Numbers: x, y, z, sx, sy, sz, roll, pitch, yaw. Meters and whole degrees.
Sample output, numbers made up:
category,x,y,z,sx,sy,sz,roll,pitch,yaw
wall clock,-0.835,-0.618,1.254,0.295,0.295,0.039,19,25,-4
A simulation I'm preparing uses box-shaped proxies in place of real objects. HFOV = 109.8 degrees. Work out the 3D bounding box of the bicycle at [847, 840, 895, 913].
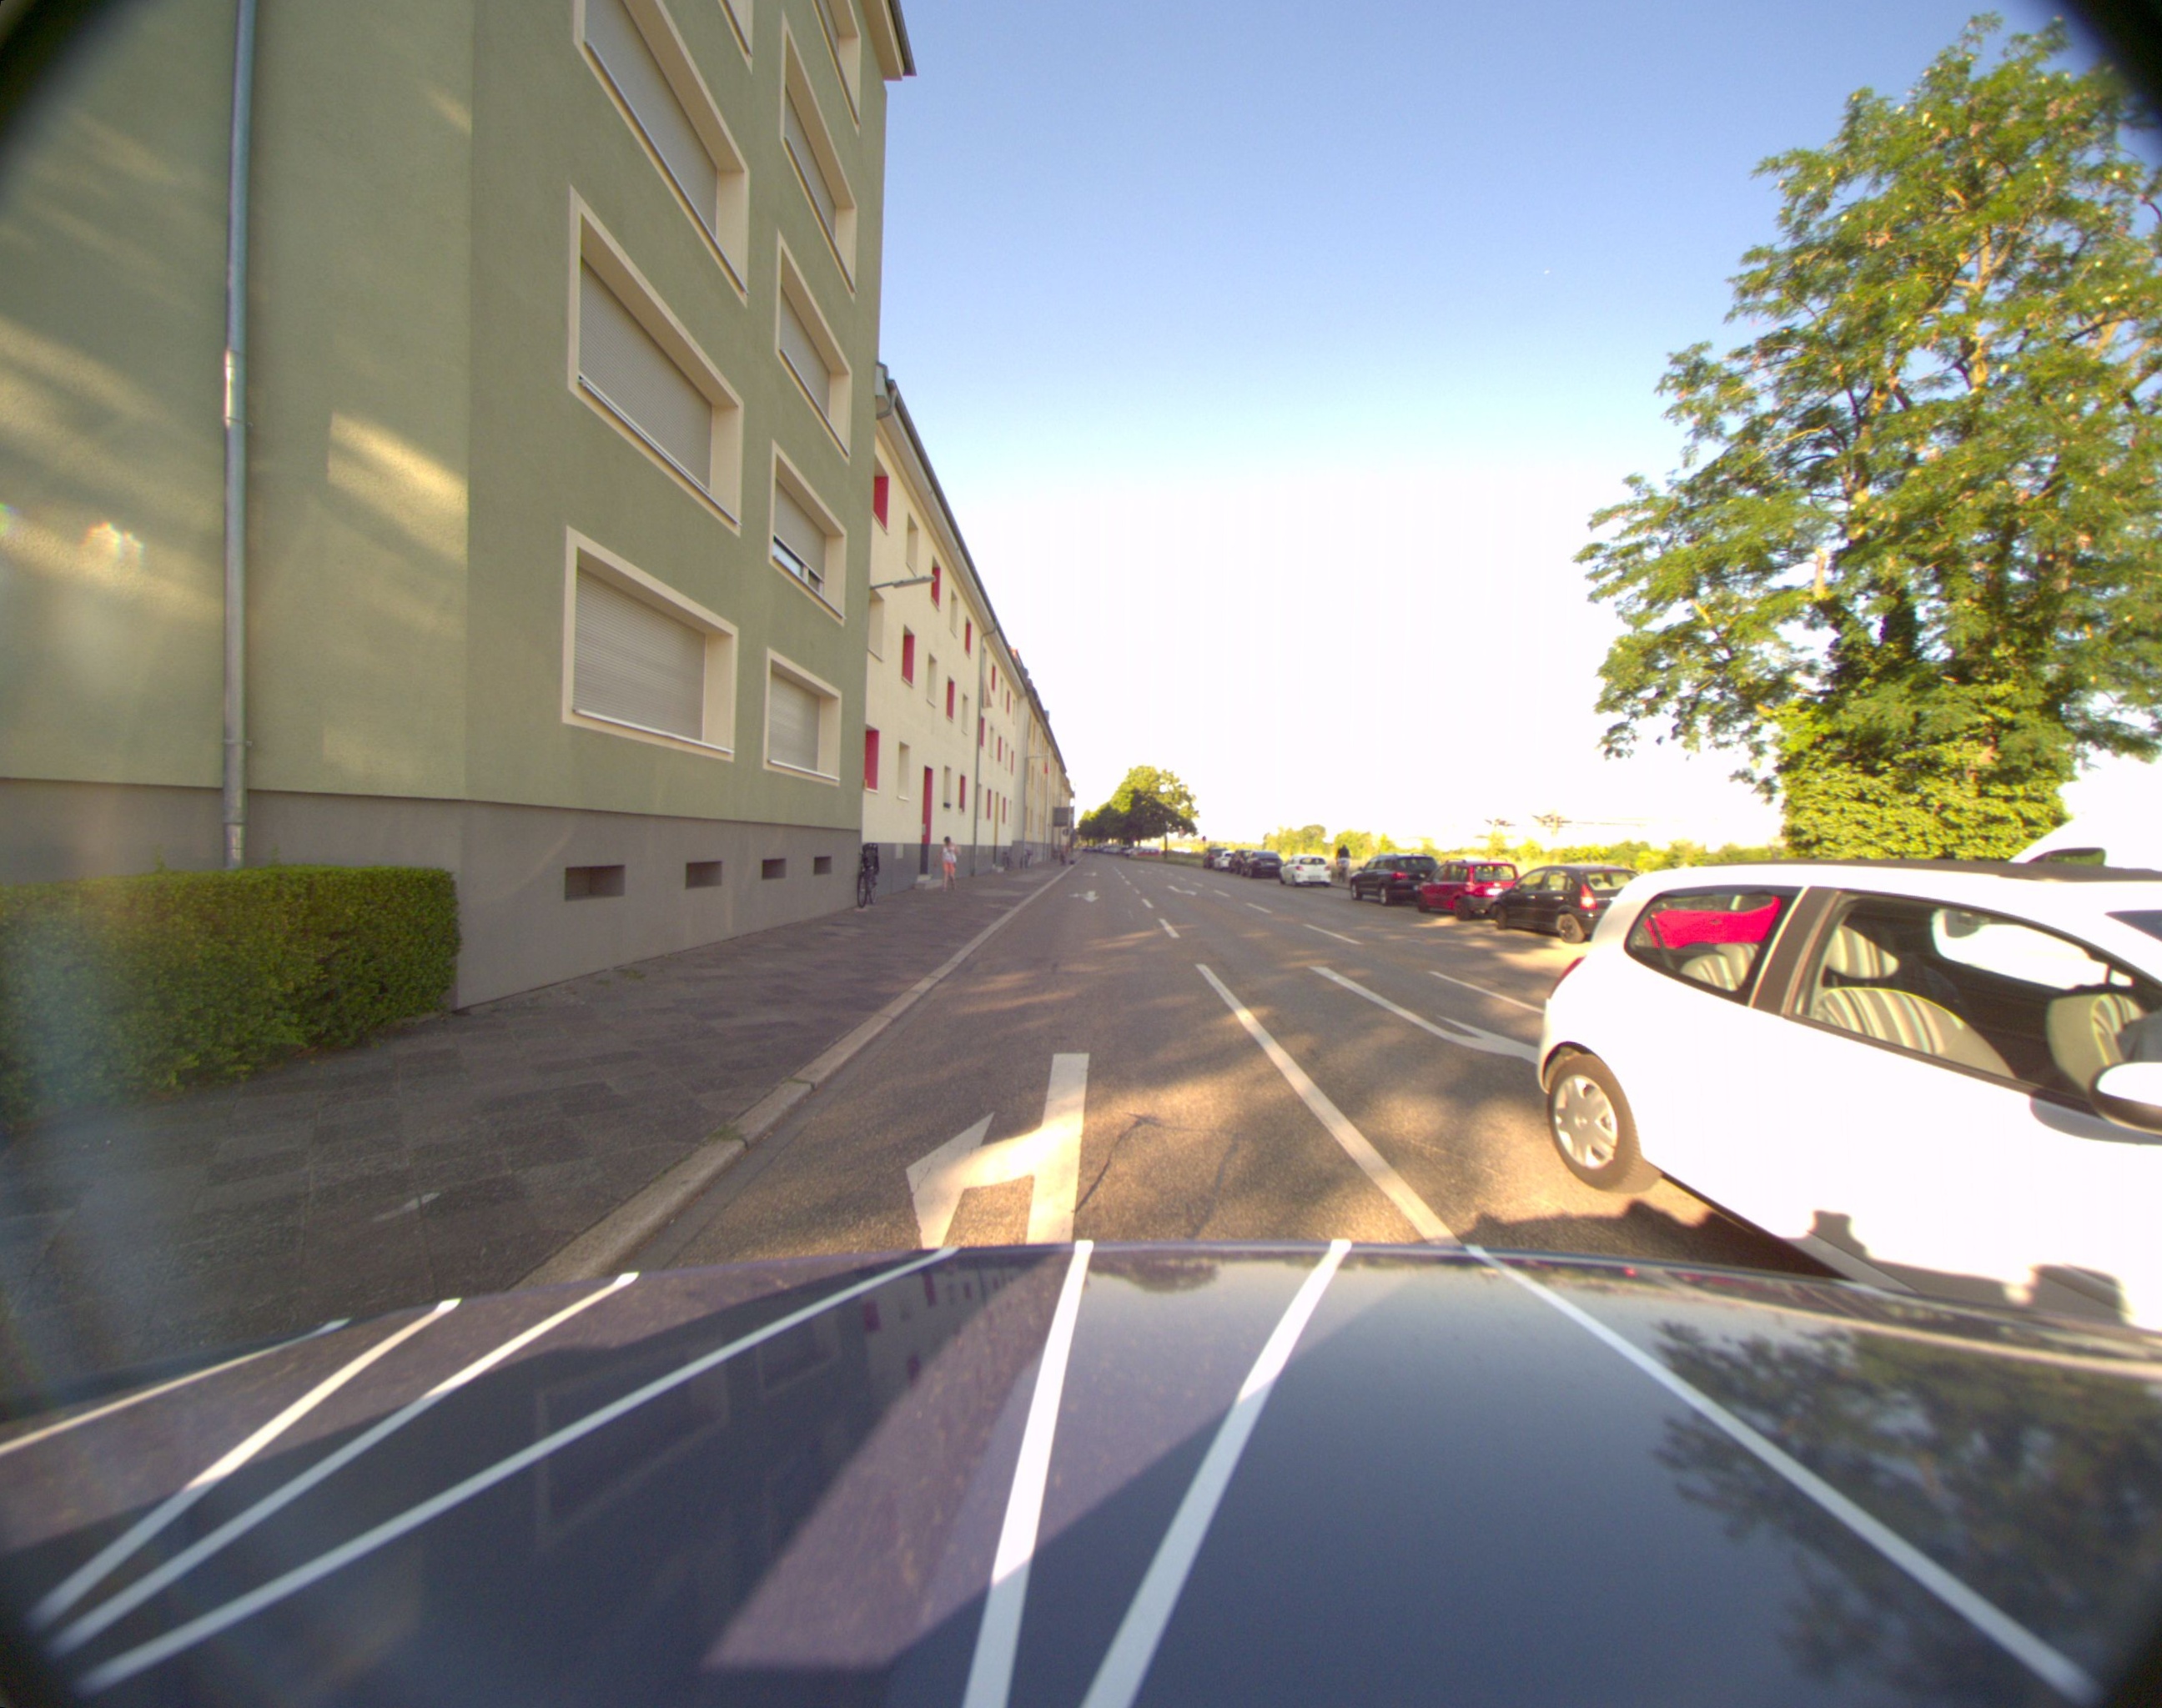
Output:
category,x,y,z,sx,sy,sz,roll,pitch,yaw
bicycle,-4.309,0.430,15.694,0.517,1.404,1.872,2,1,-3

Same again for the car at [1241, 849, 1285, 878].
category,x,y,z,sx,sy,sz,roll,pitch,yaw
car,10.572,0.496,44.326,1.823,1.517,4.290,2,1,5

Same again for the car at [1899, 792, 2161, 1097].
category,x,y,z,sx,sy,sz,roll,pitch,yaw
car,9.687,0.716,5.146,2.235,2.422,5.559,-1,1,-1

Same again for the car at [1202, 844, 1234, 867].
category,x,y,z,sx,sy,sz,roll,pitch,yaw
car,11.004,0.084,61.299,1.890,1.765,4.219,2,1,2

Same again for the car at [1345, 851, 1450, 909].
category,x,y,z,sx,sy,sz,roll,pitch,yaw
car,10.141,0.776,24.674,1.664,1.650,4.005,2,1,0

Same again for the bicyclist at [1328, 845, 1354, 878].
category,x,y,z,sx,sy,sz,roll,pitch,yaw
bicyclist,12.738,0.343,37.307,0.866,1.587,1.146,2,1,3

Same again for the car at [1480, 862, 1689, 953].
category,x,y,z,sx,sy,sz,roll,pitch,yaw
car,10.168,0.997,15.739,1.745,1.521,3.816,2,1,0

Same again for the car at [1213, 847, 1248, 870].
category,x,y,z,sx,sy,sz,roll,pitch,yaw
car,10.855,0.310,55.417,1.823,1.565,4.219,2,1,2

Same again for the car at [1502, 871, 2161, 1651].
category,x,y,z,sx,sy,sz,roll,pitch,yaw
car,3.012,0.869,1.936,1.705,1.460,3.774,2,1,-1

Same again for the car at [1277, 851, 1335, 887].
category,x,y,z,sx,sy,sz,roll,pitch,yaw
car,10.411,0.669,35.394,1.706,1.517,3.582,2,1,1

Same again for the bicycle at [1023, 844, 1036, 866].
category,x,y,z,sx,sy,sz,roll,pitch,yaw
bicycle,-3.161,0.063,46.626,0.517,1.318,2.210,2,1,2

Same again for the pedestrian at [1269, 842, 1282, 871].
category,x,y,z,sx,sy,sz,roll,pitch,yaw
pedestrian,13.922,0.183,54.484,0.706,2.002,0.710,2,1,2

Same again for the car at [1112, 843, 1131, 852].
category,x,y,z,sx,sy,sz,roll,pitch,yaw
car,9.201,-1.488,173.466,3.997,1.708,1.999,2,1,-1

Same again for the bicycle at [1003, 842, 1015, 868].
category,x,y,z,sx,sy,sz,roll,pitch,yaw
bicycle,-3.931,0.047,41.694,0.517,1.404,1.872,2,1,-3

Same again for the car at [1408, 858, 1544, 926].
category,x,y,z,sx,sy,sz,roll,pitch,yaw
car,10.262,0.924,20.055,1.664,1.521,3.578,2,1,0

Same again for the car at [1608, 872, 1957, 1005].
category,x,y,z,sx,sy,sz,roll,pitch,yaw
car,10.066,1.102,11.371,1.745,1.478,3.693,2,1,0

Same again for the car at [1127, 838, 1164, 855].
category,x,y,z,sx,sy,sz,roll,pitch,yaw
car,9.526,-1.117,112.549,5.322,2.398,2.266,-2,1,0

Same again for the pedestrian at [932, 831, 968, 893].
category,x,y,z,sx,sy,sz,roll,pitch,yaw
pedestrian,-3.717,0.214,21.578,0.787,1.697,0.950,3,1,1

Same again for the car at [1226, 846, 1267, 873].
category,x,y,z,sx,sy,sz,roll,pitch,yaw
car,10.849,0.325,50.024,1.823,1.628,4.219,2,1,2

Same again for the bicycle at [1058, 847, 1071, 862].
category,x,y,z,sx,sy,sz,roll,pitch,yaw
bicycle,-1.246,0.050,57.160,0.651,1.091,2.201,2,1,-8

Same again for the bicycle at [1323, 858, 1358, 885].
category,x,y,z,sx,sy,sz,roll,pitch,yaw
bicycle,12.716,0.836,37.295,0.939,1.182,2.482,2,1,3

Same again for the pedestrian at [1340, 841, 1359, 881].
category,x,y,z,sx,sy,sz,roll,pitch,yaw
pedestrian,13.586,0.360,38.497,0.615,2.002,0.730,2,1,-1

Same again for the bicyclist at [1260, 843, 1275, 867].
category,x,y,z,sx,sy,sz,roll,pitch,yaw
bicyclist,12.893,0.045,52.510,0.768,1.587,1.146,2,1,2
